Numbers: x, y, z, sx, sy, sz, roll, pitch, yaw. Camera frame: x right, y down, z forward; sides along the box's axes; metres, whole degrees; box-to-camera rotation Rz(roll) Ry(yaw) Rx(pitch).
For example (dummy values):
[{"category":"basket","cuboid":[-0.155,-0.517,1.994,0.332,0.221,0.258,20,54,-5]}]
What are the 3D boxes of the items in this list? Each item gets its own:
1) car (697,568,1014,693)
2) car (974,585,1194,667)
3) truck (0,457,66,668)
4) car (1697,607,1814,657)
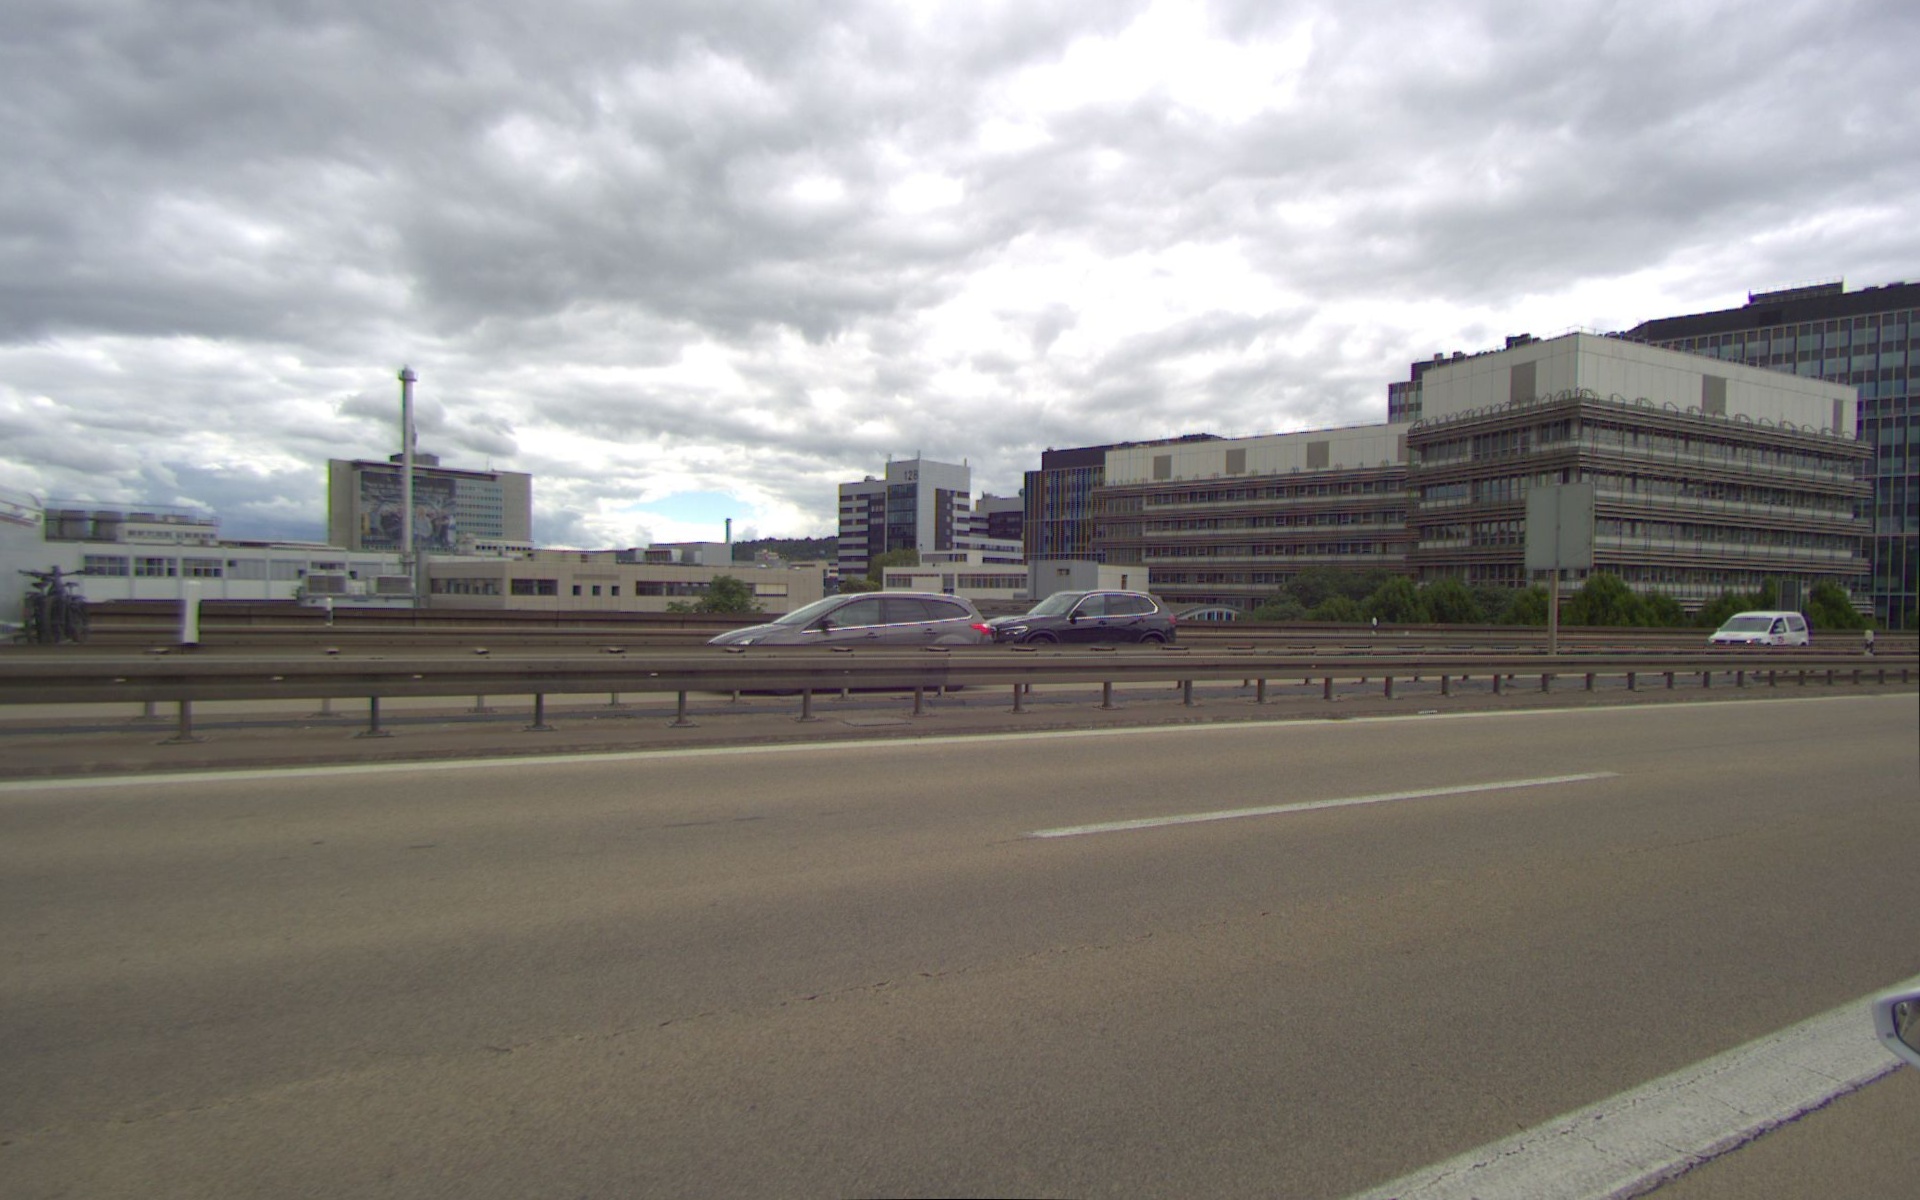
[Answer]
[{"category":"car","cuboid":[-1.558,0.451,15.279,4.399,1.657,1.985,1,-1,-29]},{"category":"car","cuboid":[2.781,0.582,22.309,4.574,1.657,1.985,1,-1,-29]},{"category":"truck","cuboid":[-15.811,-0.495,11.957,7.253,2.661,2.482,1,-1,-27]},{"category":"car","cuboid":[29.090,1.147,36.689,4.547,1.734,1.858,1,-1,-31]}]
